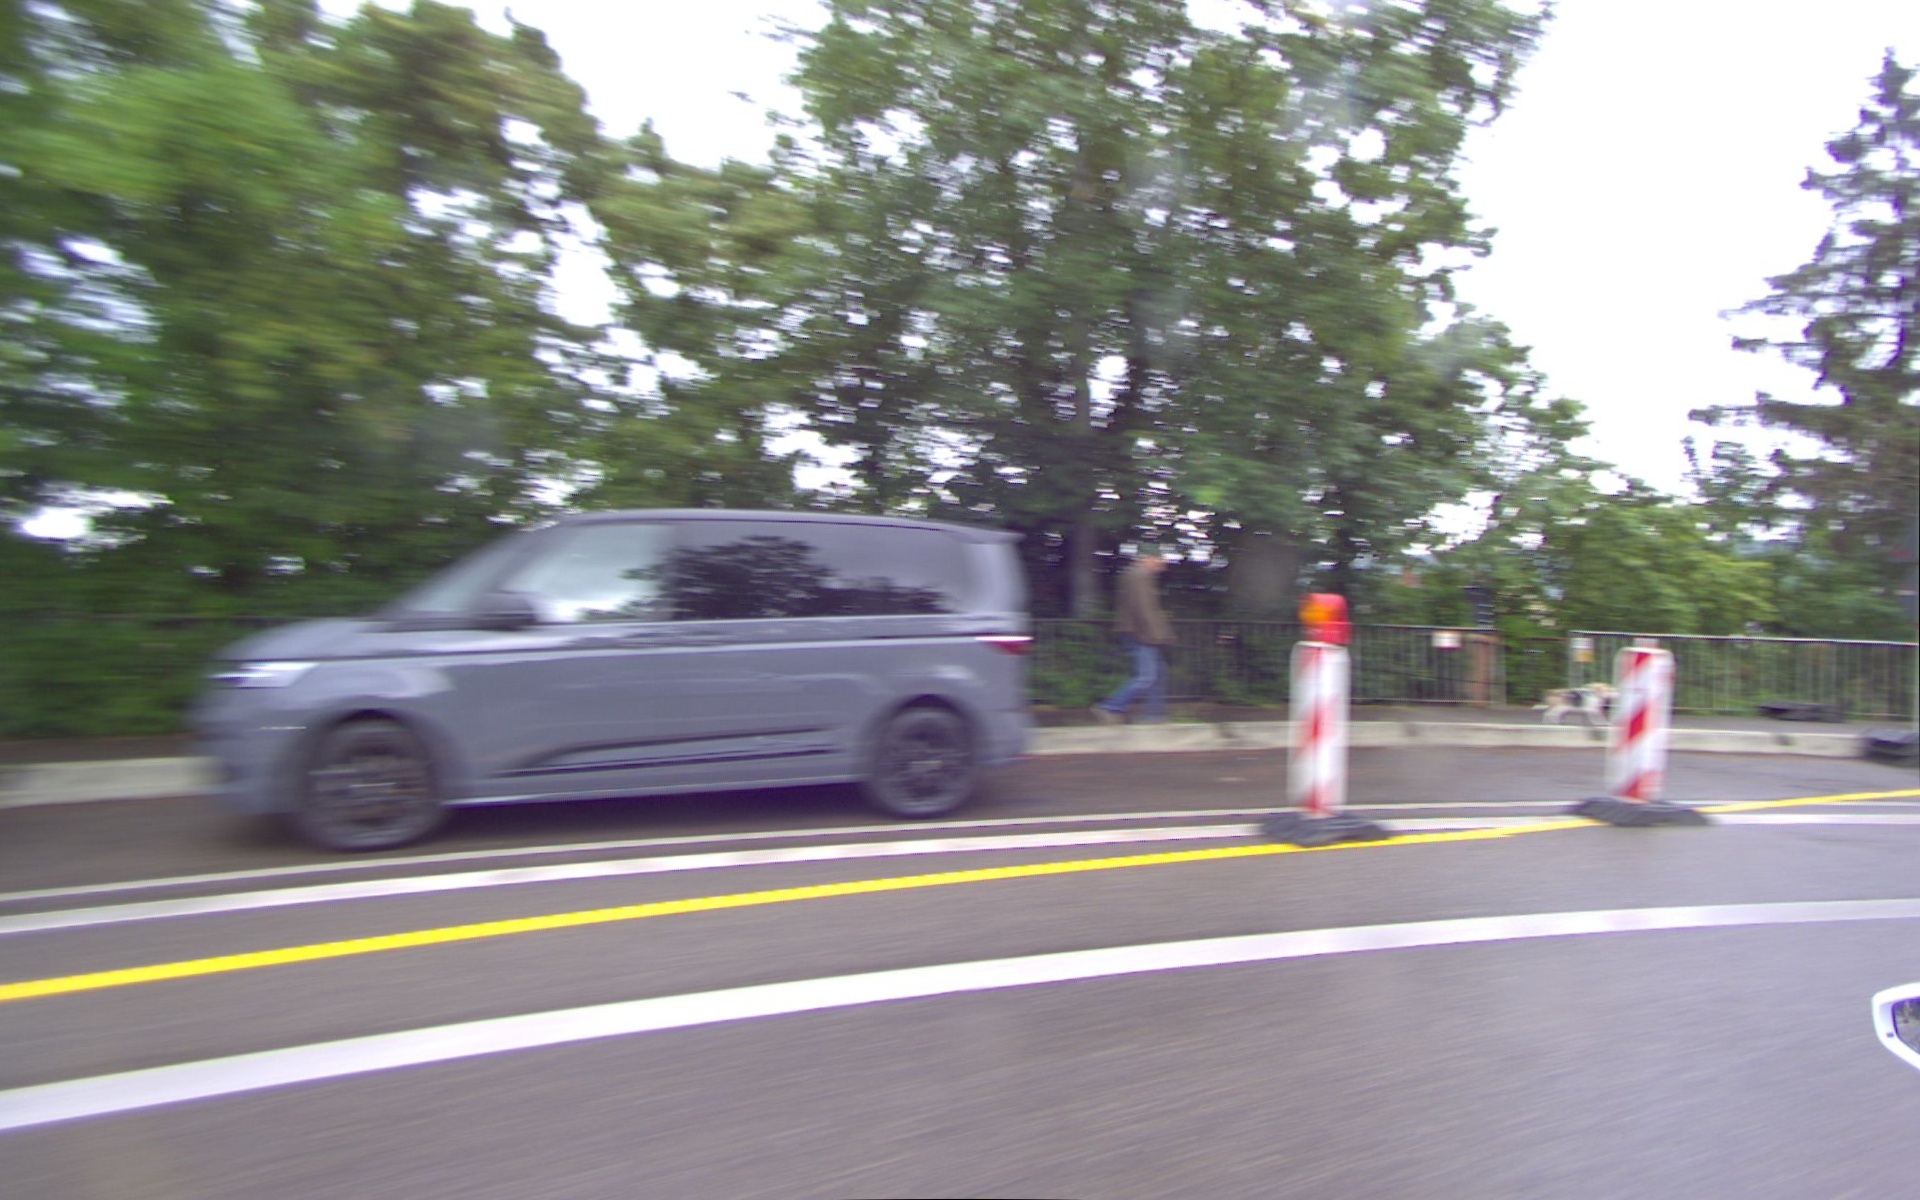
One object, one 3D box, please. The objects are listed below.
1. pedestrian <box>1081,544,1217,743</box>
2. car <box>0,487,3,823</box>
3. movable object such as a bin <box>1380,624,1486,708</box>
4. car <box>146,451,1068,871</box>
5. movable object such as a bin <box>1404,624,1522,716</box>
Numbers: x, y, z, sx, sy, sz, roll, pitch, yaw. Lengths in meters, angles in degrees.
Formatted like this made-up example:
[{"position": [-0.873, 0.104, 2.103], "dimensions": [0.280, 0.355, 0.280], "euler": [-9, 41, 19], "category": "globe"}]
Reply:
[{"position": [1.781, 0.405, 9.596], "dimensions": [0.963, 1.791, 0.924], "euler": [2, 0, -11], "category": "pedestrian"}, {"position": [-7.310, 0.329, 4.029], "dimensions": [4.764, 2.040, 1.853], "euler": [0, 0, -35], "category": "car"}, {"position": [6.595, 0.901, 14.068], "dimensions": [1.007, 1.121, 0.989], "euler": [0, -1, -1], "category": "movable object such as a bin"}, {"position": [-1.936, 0.335, 6.609], "dimensions": [4.871, 2.040, 1.992], "euler": [1, 0, -19], "category": "car"}, {"position": [6.489, 0.879, 13.013], "dimensions": [1.007, 1.121, 0.989], "euler": [1, -1, -1], "category": "movable object such as a bin"}]
